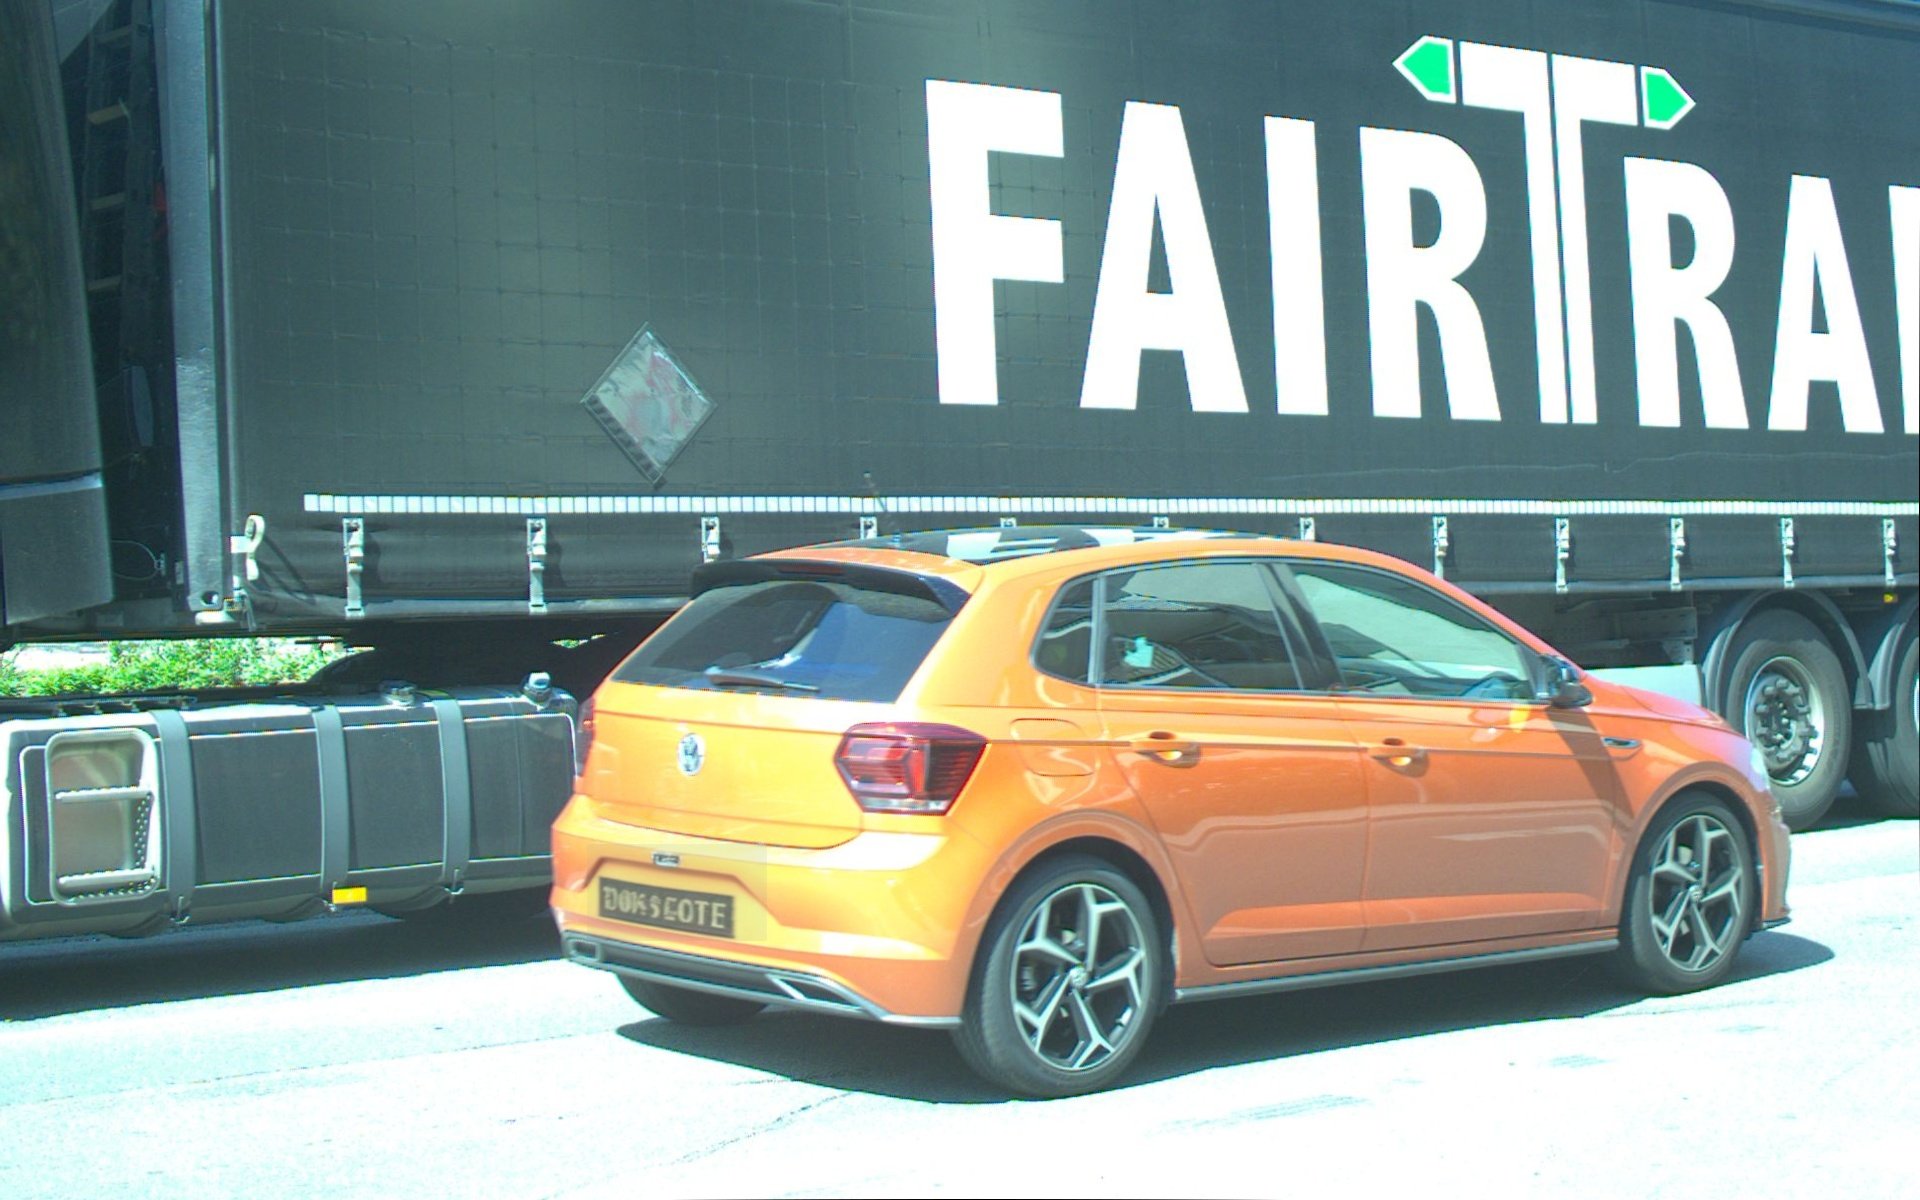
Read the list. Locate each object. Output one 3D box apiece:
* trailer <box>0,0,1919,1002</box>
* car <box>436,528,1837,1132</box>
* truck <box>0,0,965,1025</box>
[{"bbox_3d":[1.986,-0.935,15.996,13.732,4.090,2.841,-2,-1,-39],"label":"trailer"},{"bbox_3d":[0.653,0.511,10.066,4.006,1.401,1.730,-1,1,-41],"label":"car"},{"bbox_3d":[-3.237,-0.753,11.708,5.915,4.057,2.838,-2,-1,-39],"label":"truck"}]
